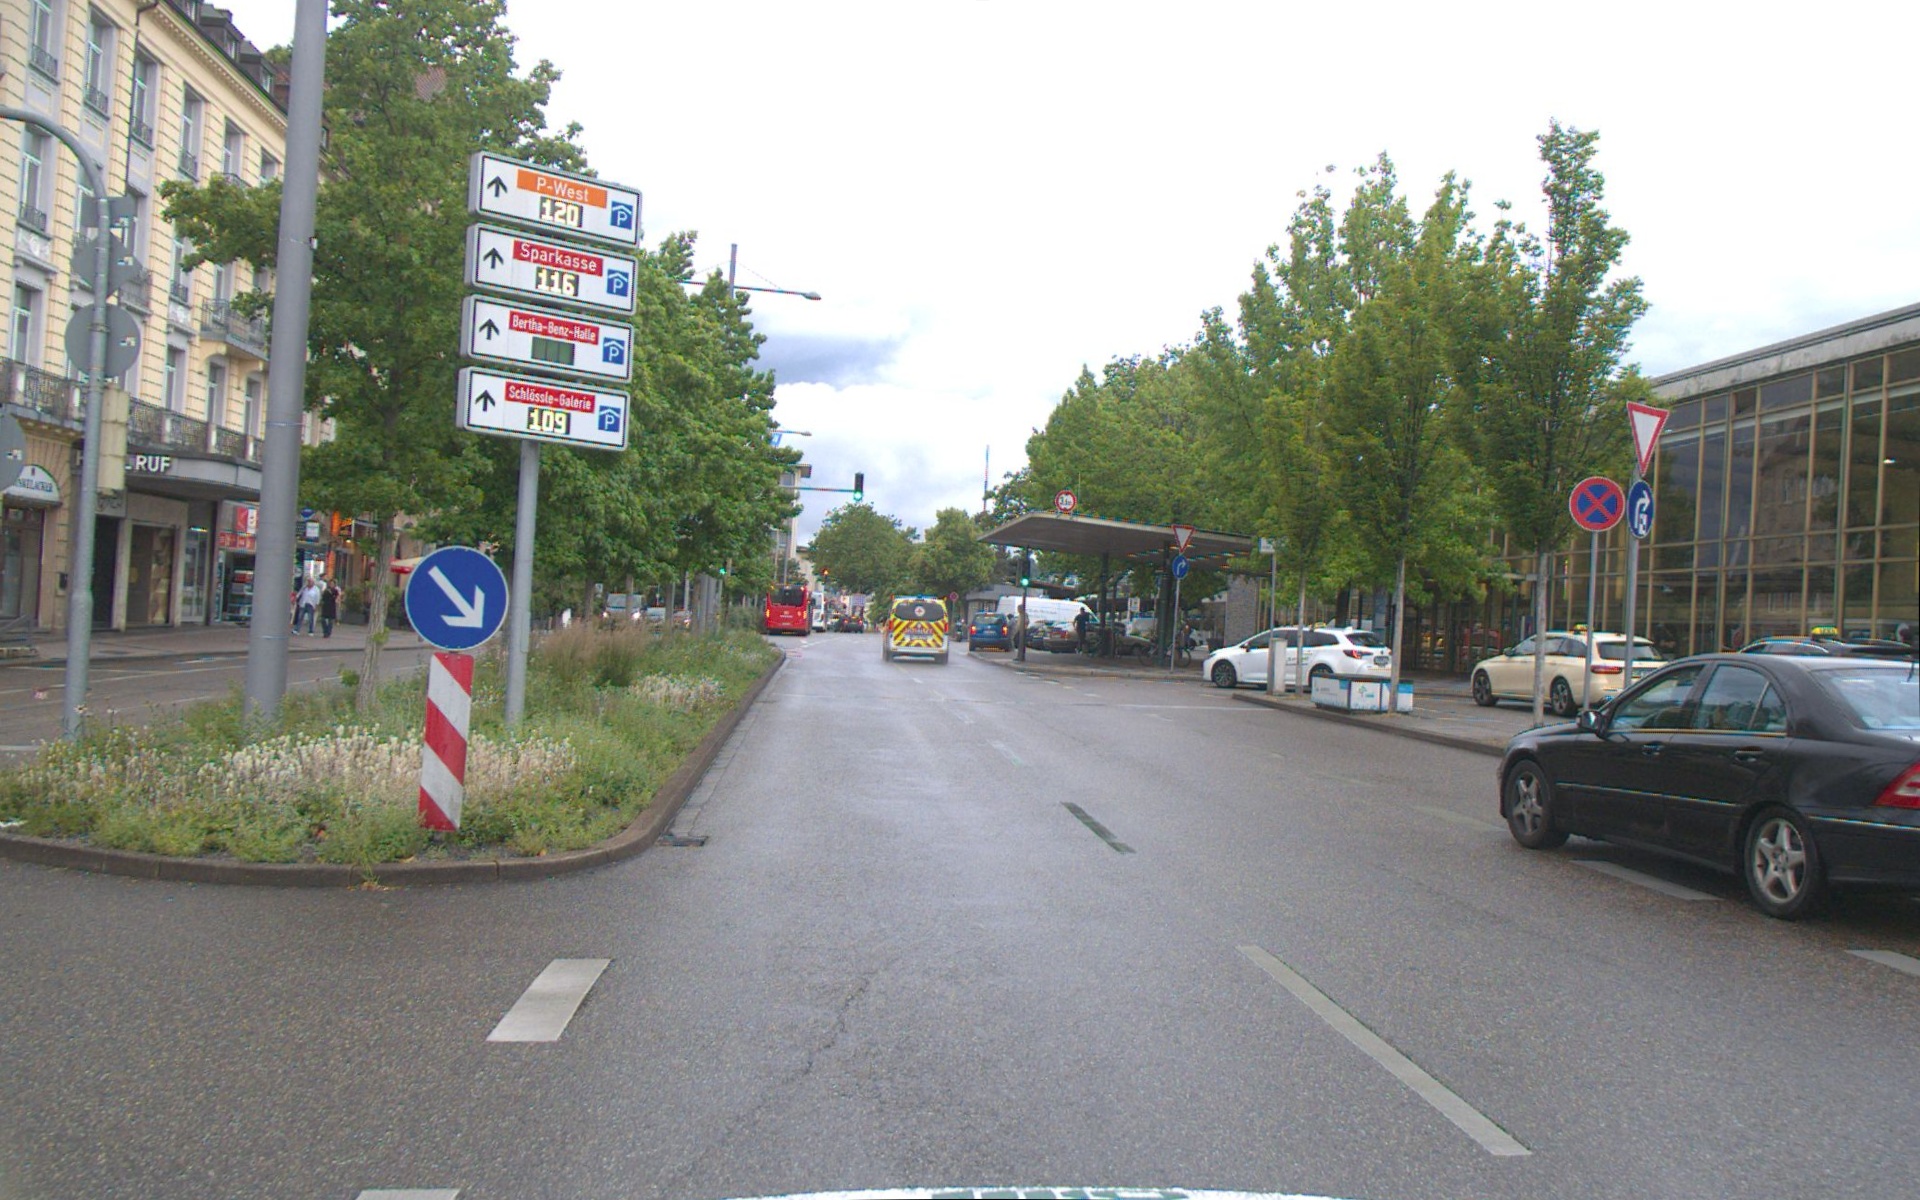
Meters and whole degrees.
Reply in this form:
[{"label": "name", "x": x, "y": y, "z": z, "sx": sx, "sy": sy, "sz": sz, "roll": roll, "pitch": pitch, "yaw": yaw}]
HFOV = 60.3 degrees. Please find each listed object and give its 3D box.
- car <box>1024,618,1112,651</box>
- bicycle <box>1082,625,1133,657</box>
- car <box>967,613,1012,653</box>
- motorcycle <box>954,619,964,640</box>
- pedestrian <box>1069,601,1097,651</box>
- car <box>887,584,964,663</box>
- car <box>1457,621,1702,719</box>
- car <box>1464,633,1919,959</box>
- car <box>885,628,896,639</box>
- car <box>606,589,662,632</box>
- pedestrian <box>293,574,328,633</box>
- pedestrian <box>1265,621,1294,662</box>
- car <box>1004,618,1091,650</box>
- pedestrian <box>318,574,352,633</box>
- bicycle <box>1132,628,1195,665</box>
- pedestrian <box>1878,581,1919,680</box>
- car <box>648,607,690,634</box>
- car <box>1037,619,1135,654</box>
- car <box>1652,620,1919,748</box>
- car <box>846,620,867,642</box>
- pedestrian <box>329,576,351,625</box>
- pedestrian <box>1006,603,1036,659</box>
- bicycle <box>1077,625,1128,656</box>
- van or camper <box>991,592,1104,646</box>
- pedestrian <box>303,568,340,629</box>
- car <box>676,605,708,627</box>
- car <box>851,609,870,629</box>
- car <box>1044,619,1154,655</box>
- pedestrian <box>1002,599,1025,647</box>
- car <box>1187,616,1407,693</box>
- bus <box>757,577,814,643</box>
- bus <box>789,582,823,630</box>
[{"label": "car", "x": 5.255, "y": 1.688, "z": 80.361, "sx": 3.946, "sy": 1.468, "sz": 1.845, "roll": 3, "pitch": -2, "yaw": -31}, {"label": "bicycle", "x": 5.115, "y": 1.414, "z": 57.297, "sx": 1.802, "sy": 1.074, "sz": 0.417, "roll": 1, "pitch": -1, "yaw": -23}, {"label": "car", "x": 1.238, "y": 1.410, "z": 70.921, "sx": 1.821, "sy": 1.596, "sz": 3.999, "roll": 2, "pitch": -1, "yaw": 0}, {"label": "motorcycle", "x": -0.068, "y": 1.868, "z": 105.124, "sx": 0.583, "sy": 1.311, "sz": 1.953, "roll": 1, "pitch": -1, "yaw": 1}, {"label": "pedestrian", "x": 4.638, "y": 0.977, "z": 62.533, "sx": 0.839, "sy": 1.867, "sz": 1.189, "roll": 1, "pitch": -2, "yaw": -5}, {"label": "car", "x": -1.021, "y": 0.653, "z": 46.228, "sx": 1.954, "sy": 2.049, "sz": 5.058, "roll": 1, "pitch": -1, "yaw": -3}, {"label": "car", "x": 11.412, "y": 1.235, "z": 30.903, "sx": 1.958, "sy": 1.627, "sz": 4.943, "roll": 1, "pitch": 0, "yaw": -12}, {"label": "car", "x": 4.921, "y": 0.973, "z": 10.116, "sx": 1.664, "sy": 1.491, "sz": 4.440, "roll": 1, "pitch": -1, "yaw": -11}, {"label": "car", "x": -10.298, "y": 4.933, "z": 246.138, "sx": 1.563, "sy": 1.588, "sz": 3.647, "roll": 1, "pitch": -1, "yaw": -4}, {"label": "car", "x": -15.863, "y": 0.527, "z": 80.752, "sx": 1.954, "sy": 2.049, "sz": 4.998, "roll": 1, "pitch": -1, "yaw": -3}, {"label": "pedestrian", "x": -18.753, "y": 0.100, "z": 47.791, "sx": 0.668, "sy": 1.693, "sz": 0.807, "roll": 1, "pitch": -1, "yaw": -1}, {"label": "pedestrian", "x": 12.279, "y": 1.586, "z": 63.574, "sx": 0.849, "sy": 1.586, "sz": 0.812, "roll": 1, "pitch": -1, "yaw": -11}, {"label": "car", "x": 4.374, "y": 1.706, "z": 82.493, "sx": 3.946, "sy": 1.468, "sz": 1.845, "roll": 3, "pitch": -2, "yaw": -31}, {"label": "pedestrian", "x": -18.084, "y": 0.111, "z": 47.859, "sx": 0.668, "sy": 1.693, "sz": 0.806, "roll": 1, "pitch": -1, "yaw": -4}, {"label": "bicycle", "x": 6.017, "y": 1.368, "z": 48.850, "sx": 1.791, "sy": 1.074, "sz": 0.420, "roll": 1, "pitch": -1, "yaw": -5}, {"label": "pedestrian", "x": 16.008, "y": 0.513, "z": 27.895, "sx": 0.783, "sy": 1.655, "sz": 0.718, "roll": 0, "pitch": -1, "yaw": 41}, {"label": "car", "x": -17.206, "y": 1.225, "z": 97.982, "sx": 1.954, "sy": 1.570, "sz": 4.629, "roll": 1, "pitch": -1, "yaw": -4}, {"label": "car", "x": 5.483, "y": 1.571, "z": 71.814, "sx": 3.953, "sy": 1.383, "sz": 1.842, "roll": 3, "pitch": -2, "yaw": -35}, {"label": "car", "x": 12.450, "y": 1.166, "z": 24.465, "sx": 1.955, "sy": 1.627, "sz": 4.952, "roll": 2, "pitch": 0, "yaw": -5}, {"label": "car", "x": -9.904, "y": 2.941, "z": 157.810, "sx": 1.954, "sy": 2.049, "sz": 3.996, "roll": 1, "pitch": -1, "yaw": -4}, {"label": "pedestrian", "x": -21.912, "y": 0.026, "z": 58.449, "sx": 0.655, "sy": 1.693, "sz": 0.535, "roll": 1, "pitch": -1, "yaw": -13}, {"label": "pedestrian", "x": 1.949, "y": 0.986, "z": 52.581, "sx": 0.733, "sy": 1.777, "sz": 0.833, "roll": 2, "pitch": -2, "yaw": -13}, {"label": "bicycle", "x": 4.973, "y": 1.412, "z": 57.734, "sx": 1.802, "sy": 1.074, "sz": 0.417, "roll": 1, "pitch": -1, "yaw": -23}, {"label": "van or camper", "x": 4.706, "y": 1.058, "z": 88.597, "sx": 5.888, "sy": 2.811, "sz": 2.175, "roll": 1, "pitch": -1, "yaw": -32}, {"label": "pedestrian", "x": -19.602, "y": -0.044, "z": 50.775, "sx": 0.862, "sy": 1.844, "sz": 0.750, "roll": 0, "pitch": -1, "yaw": -5}, {"label": "car", "x": -17.854, "y": 1.088, "z": 110.279, "sx": 1.713, "sy": 1.455, "sz": 3.949, "roll": 1, "pitch": -1, "yaw": -4}, {"label": "car", "x": -10.432, "y": 1.962, "z": 173.357, "sx": 1.954, "sy": 2.049, "sz": 3.996, "roll": 1, "pitch": -1, "yaw": -4}, {"label": "car", "x": 5.733, "y": 1.526, "z": 68.159, "sx": 4.131, "sy": 1.348, "sz": 1.826, "roll": 2, "pitch": -2, "yaw": -25}, {"label": "pedestrian", "x": 2.305, "y": 0.986, "z": 71.412, "sx": 0.816, "sy": 2.049, "sz": 0.887, "roll": 1, "pitch": -1, "yaw": -9}, {"label": "car", "x": 7.518, "y": 1.187, "z": 37.205, "sx": 1.750, "sy": 1.573, "sz": 4.700, "roll": 3, "pitch": -2, "yaw": -43}, {"label": "bus", "x": -11.351, "y": 0.672, "z": 107.464, "sx": 3.477, "sy": 4.049, "sz": 11.155, "roll": 1, "pitch": -1, "yaw": -6}, {"label": "bus", "x": -12.936, "y": 0.542, "z": 138.505, "sx": 2.751, "sy": 3.812, "sz": 10.431, "roll": 0, "pitch": -1, "yaw": -6}]
